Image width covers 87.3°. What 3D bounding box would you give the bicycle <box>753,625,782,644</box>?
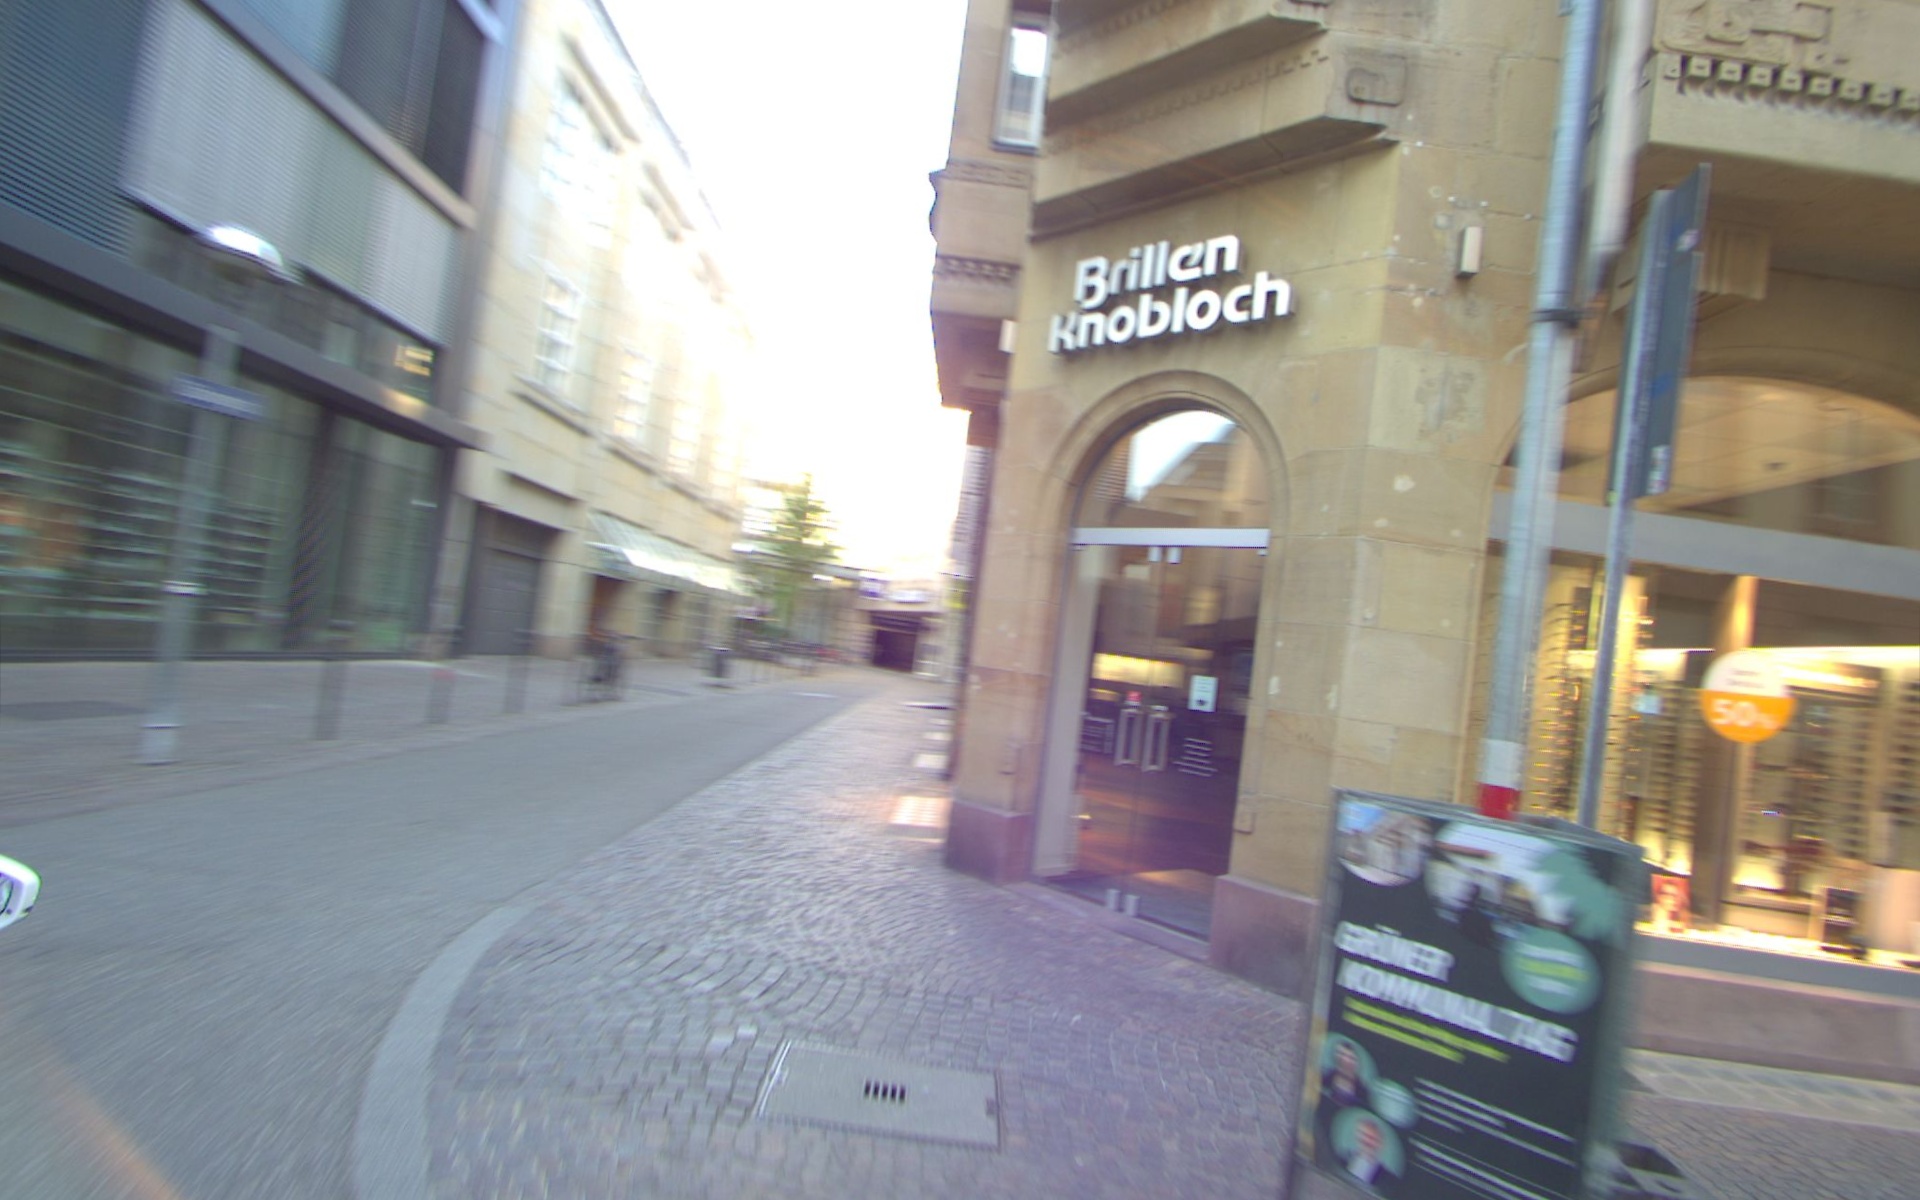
[{"bbox_3d":[-14.576,2.614,76.161,1.971,1.196,0.691,6,-1,-19],"label":"bicycle"}]

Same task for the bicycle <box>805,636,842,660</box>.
[{"bbox_3d":[-8.065,2.846,59.394,1.971,1.196,0.693,6,-1,-19],"label":"bicycle"}]

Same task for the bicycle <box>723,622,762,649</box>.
[{"bbox_3d":[-11.797,1.941,54.598,1.891,1.196,0.694,8,-2,-17],"label":"bicycle"}]

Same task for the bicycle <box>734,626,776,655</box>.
[{"bbox_3d":[-10.210,2.037,50.156,1.891,1.196,0.694,8,-2,-17],"label":"bicycle"}]

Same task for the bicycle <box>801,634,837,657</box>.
[{"bbox_3d":[-8.607,2.779,61.339,1.971,1.196,0.800,6,-1,-19],"label":"bicycle"}]

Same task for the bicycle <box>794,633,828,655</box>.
[{"bbox_3d":[-9.470,2.769,63.931,1.971,1.196,0.800,6,-1,-19],"label":"bicycle"}]

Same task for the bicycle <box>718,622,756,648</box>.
[{"bbox_3d":[-12.348,1.915,55.643,1.891,1.196,0.694,8,-2,-17],"label":"bicycle"}]

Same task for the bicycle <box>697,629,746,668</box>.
[{"bbox_3d":[-7.670,1.592,32.426,0.682,1.124,1.779,6,-2,15],"label":"bicycle"}]

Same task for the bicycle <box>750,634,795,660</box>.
[{"bbox_3d":[-8.764,2.200,47.140,1.892,1.005,0.693,8,-2,-20],"label":"bicycle"}]

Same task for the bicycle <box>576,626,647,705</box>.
[{"bbox_3d":[-5.562,1.023,16.146,0.404,1.145,1.932,7,-2,-3],"label":"bicycle"}]

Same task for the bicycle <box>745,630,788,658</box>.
[{"bbox_3d":[-9.466,2.134,49.251,1.891,1.114,0.694,8,-2,-17],"label":"bicycle"}]

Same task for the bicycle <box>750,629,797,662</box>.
[{"bbox_3d":[-8.456,2.062,45.570,1.892,1.275,0.805,8,-2,-20],"label":"bicycle"}]

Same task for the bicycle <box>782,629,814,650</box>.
[{"bbox_3d":[-10.969,2.662,68.121,1.971,1.196,0.691,6,-1,-19],"label":"bicycle"}]

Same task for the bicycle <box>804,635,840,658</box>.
[{"bbox_3d":[-8.278,2.783,60.456,1.971,1.196,0.693,6,-1,-19],"label":"bicycle"}]

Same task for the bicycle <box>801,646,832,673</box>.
[{"bbox_3d":[-5.608,2.348,39.436,0.497,0.977,1.697,6,-2,15],"label":"bicycle"}]

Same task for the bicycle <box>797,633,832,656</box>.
[{"bbox_3d":[-9.044,2.749,62.475,1.971,1.196,0.800,6,-1,-19],"label":"bicycle"}]

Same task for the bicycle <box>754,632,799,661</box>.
[{"bbox_3d":[-8.757,2.222,48.059,1.892,1.114,0.693,8,-2,-20],"label":"bicycle"}]

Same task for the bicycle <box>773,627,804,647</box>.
[{"bbox_3d":[-11.992,2.597,70.486,1.971,1.196,0.691,6,-1,-19],"label":"bicycle"}]

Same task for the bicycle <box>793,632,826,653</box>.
[{"bbox_3d":[-9.716,2.732,64.921,1.971,1.196,0.691,6,-1,-19],"label":"bicycle"}]

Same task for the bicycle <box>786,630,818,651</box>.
[{"bbox_3d":[-10.540,2.710,67.044,1.971,1.196,0.691,6,-1,-19],"label":"bicycle"}]

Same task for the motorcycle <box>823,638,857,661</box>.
[{"bbox_3d":[-6.901,2.847,57.856,1.725,1.169,0.593,6,-1,-17],"label":"motorcycle"}]
